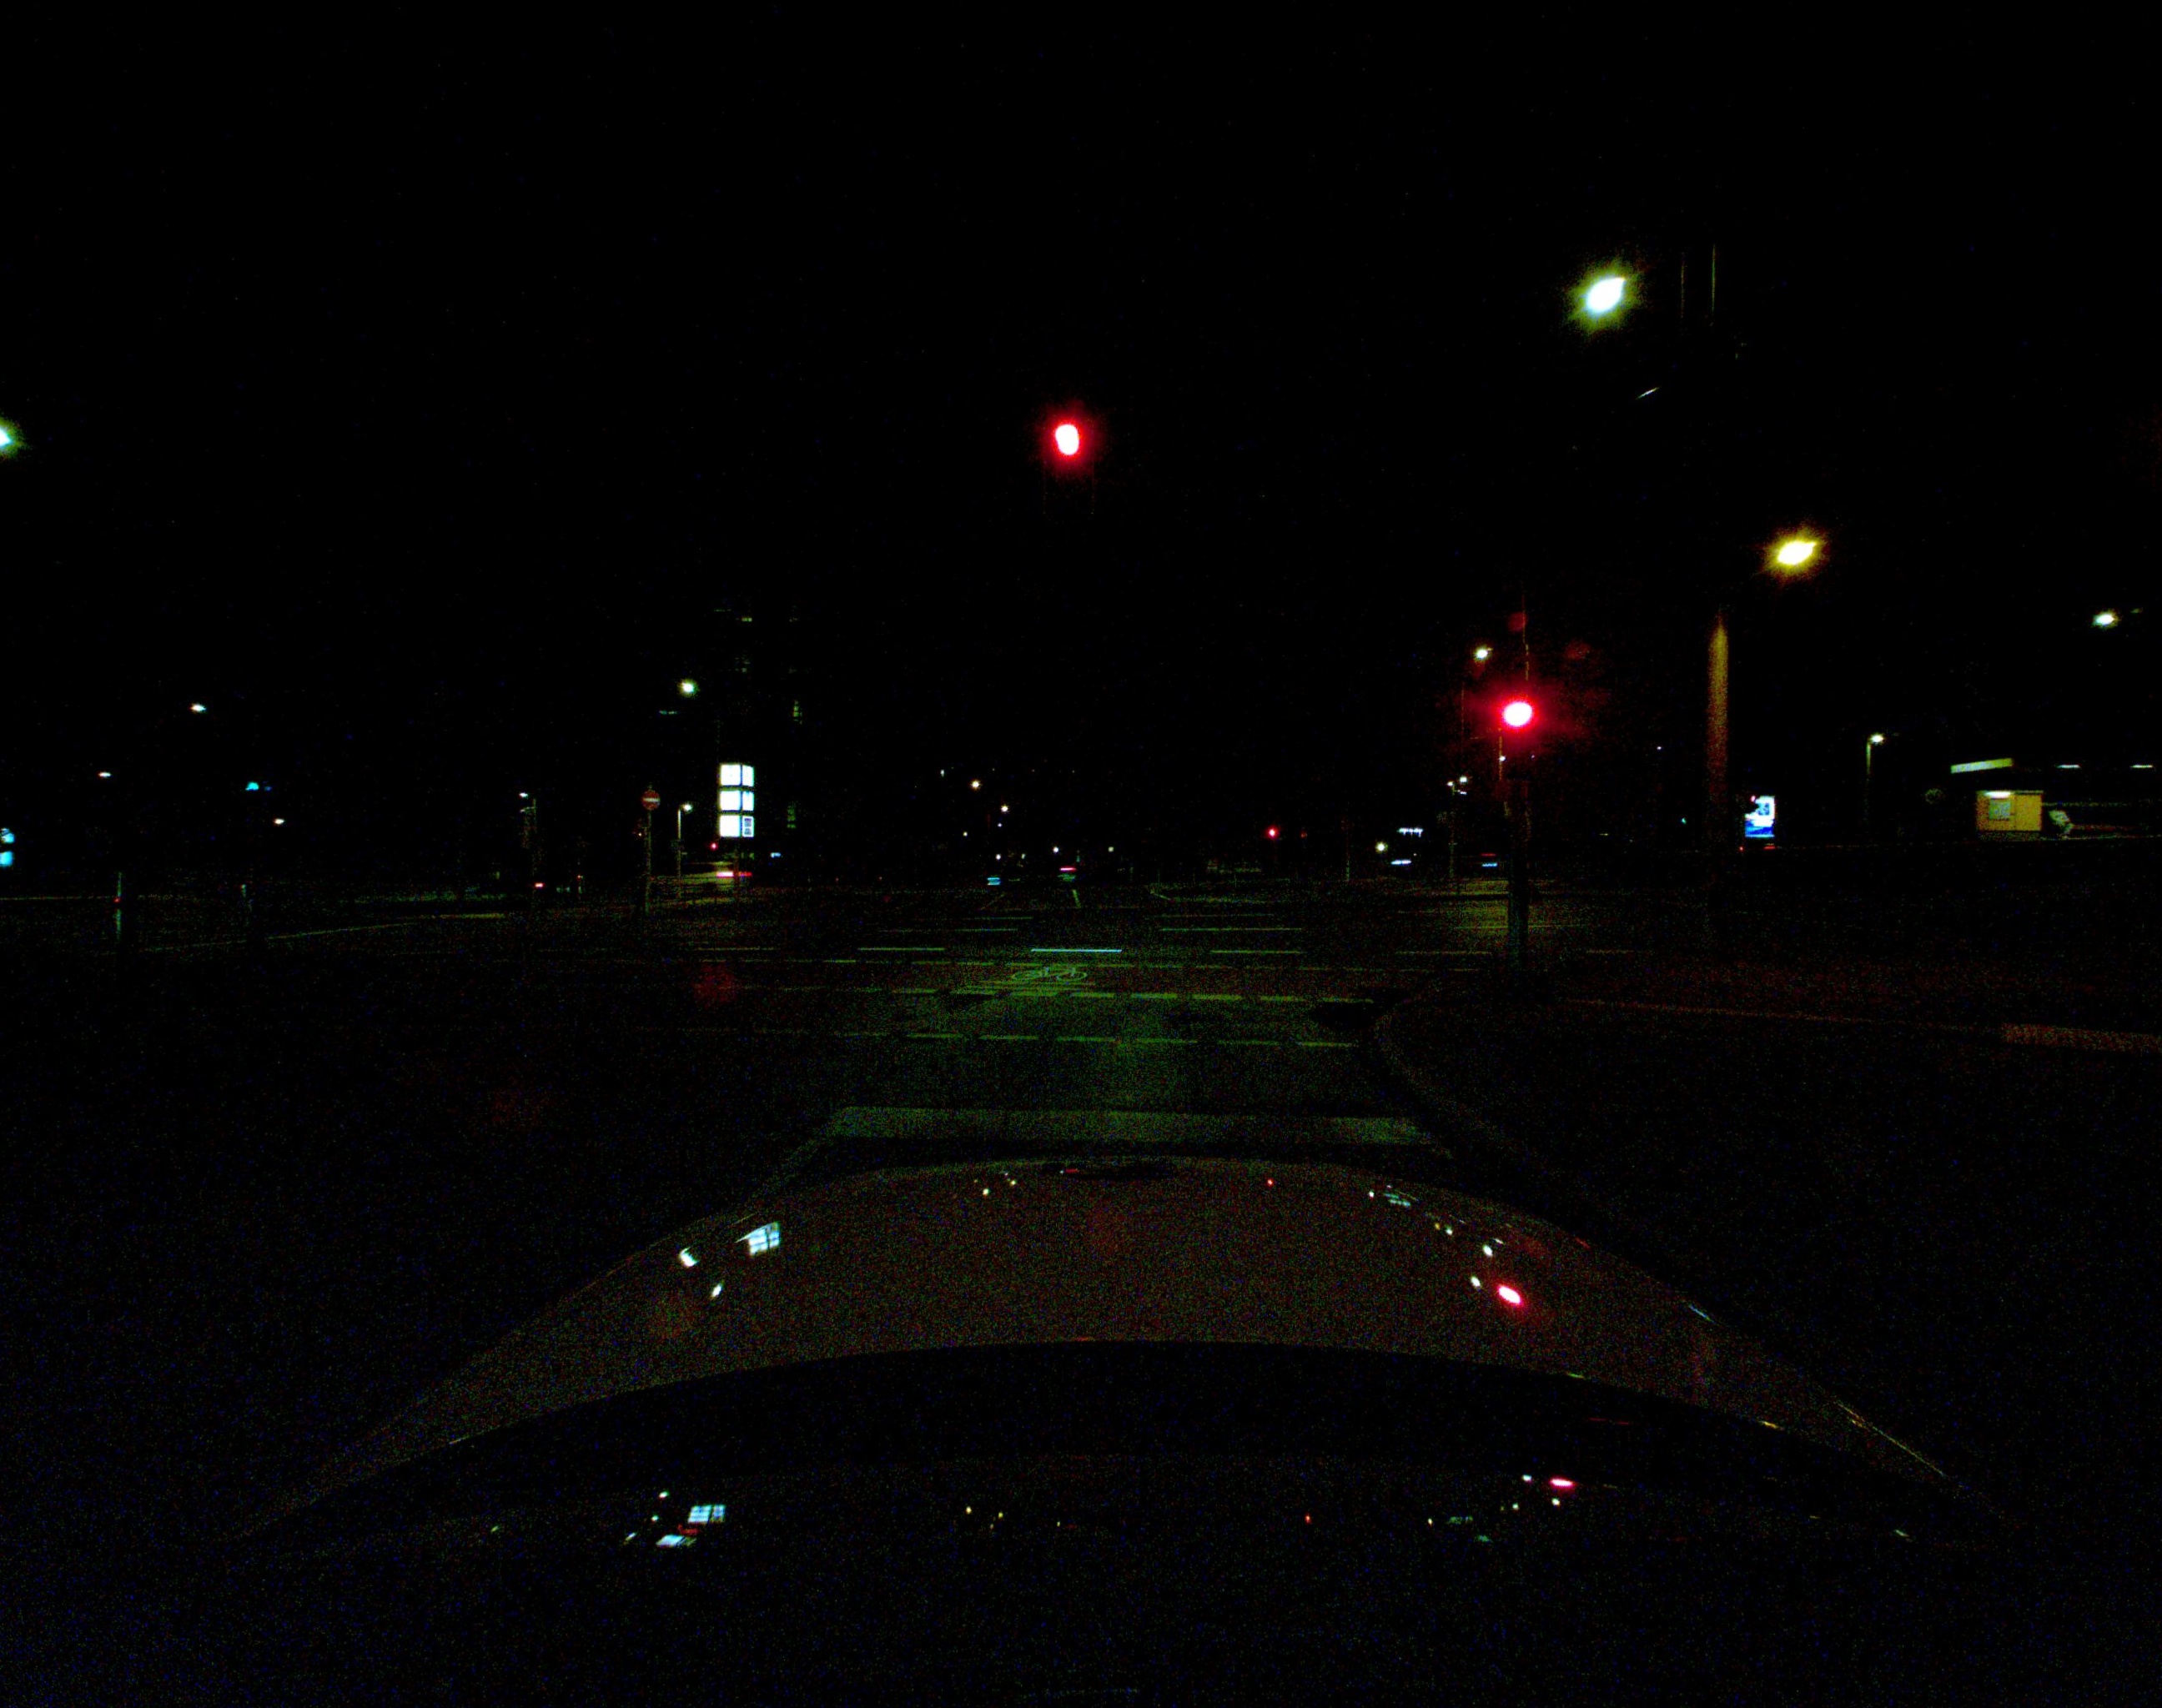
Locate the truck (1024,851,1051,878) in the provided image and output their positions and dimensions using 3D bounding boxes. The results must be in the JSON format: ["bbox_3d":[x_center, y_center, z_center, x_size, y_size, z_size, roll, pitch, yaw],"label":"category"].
[{"bbox_3d":[-7.995,1.934,149.253,3.366,4.843,7.865,0,-1,-14],"label":"truck"}]

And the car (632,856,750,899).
[{"bbox_3d":[-18.654,1.128,39.063,4.757,1.844,1.845,-2,-1,5],"label":"car"}]

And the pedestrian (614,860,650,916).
[{"bbox_3d":[-14.087,1.052,25.530,0.670,1.722,0.710,-1,-2,27],"label":"pedestrian"}]

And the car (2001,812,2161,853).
[{"bbox_3d":[42.101,-0.884,34.274,4.551,1.585,1.848,-1,1,3],"label":"car"}]

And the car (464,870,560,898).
[{"bbox_3d":[-32.543,1.710,46.629,4.307,1.388,1.845,-2,-1,5],"label":"car"}]

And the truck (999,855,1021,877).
[{"bbox_3d":[-10.528,1.778,120.276,2.419,3.089,6.412,0,-1,-11],"label":"truck"}]

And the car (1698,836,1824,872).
[{"bbox_3d":[31.684,0.029,38.044,4.212,1.585,1.806,0,-1,6],"label":"car"}]

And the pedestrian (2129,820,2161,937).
[{"bbox_3d":[15.856,0.314,11.584,0.870,1.656,0.843,-7,-5,42],"label":"pedestrian"}]

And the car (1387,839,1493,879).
[{"bbox_3d":[15.902,0.199,36.243,3.964,1.585,1.808,-2,0,8],"label":"car"}]

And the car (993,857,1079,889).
[{"bbox_3d":[-2.236,0.917,40.926,4.041,1.424,1.846,-1,1,5],"label":"car"}]
